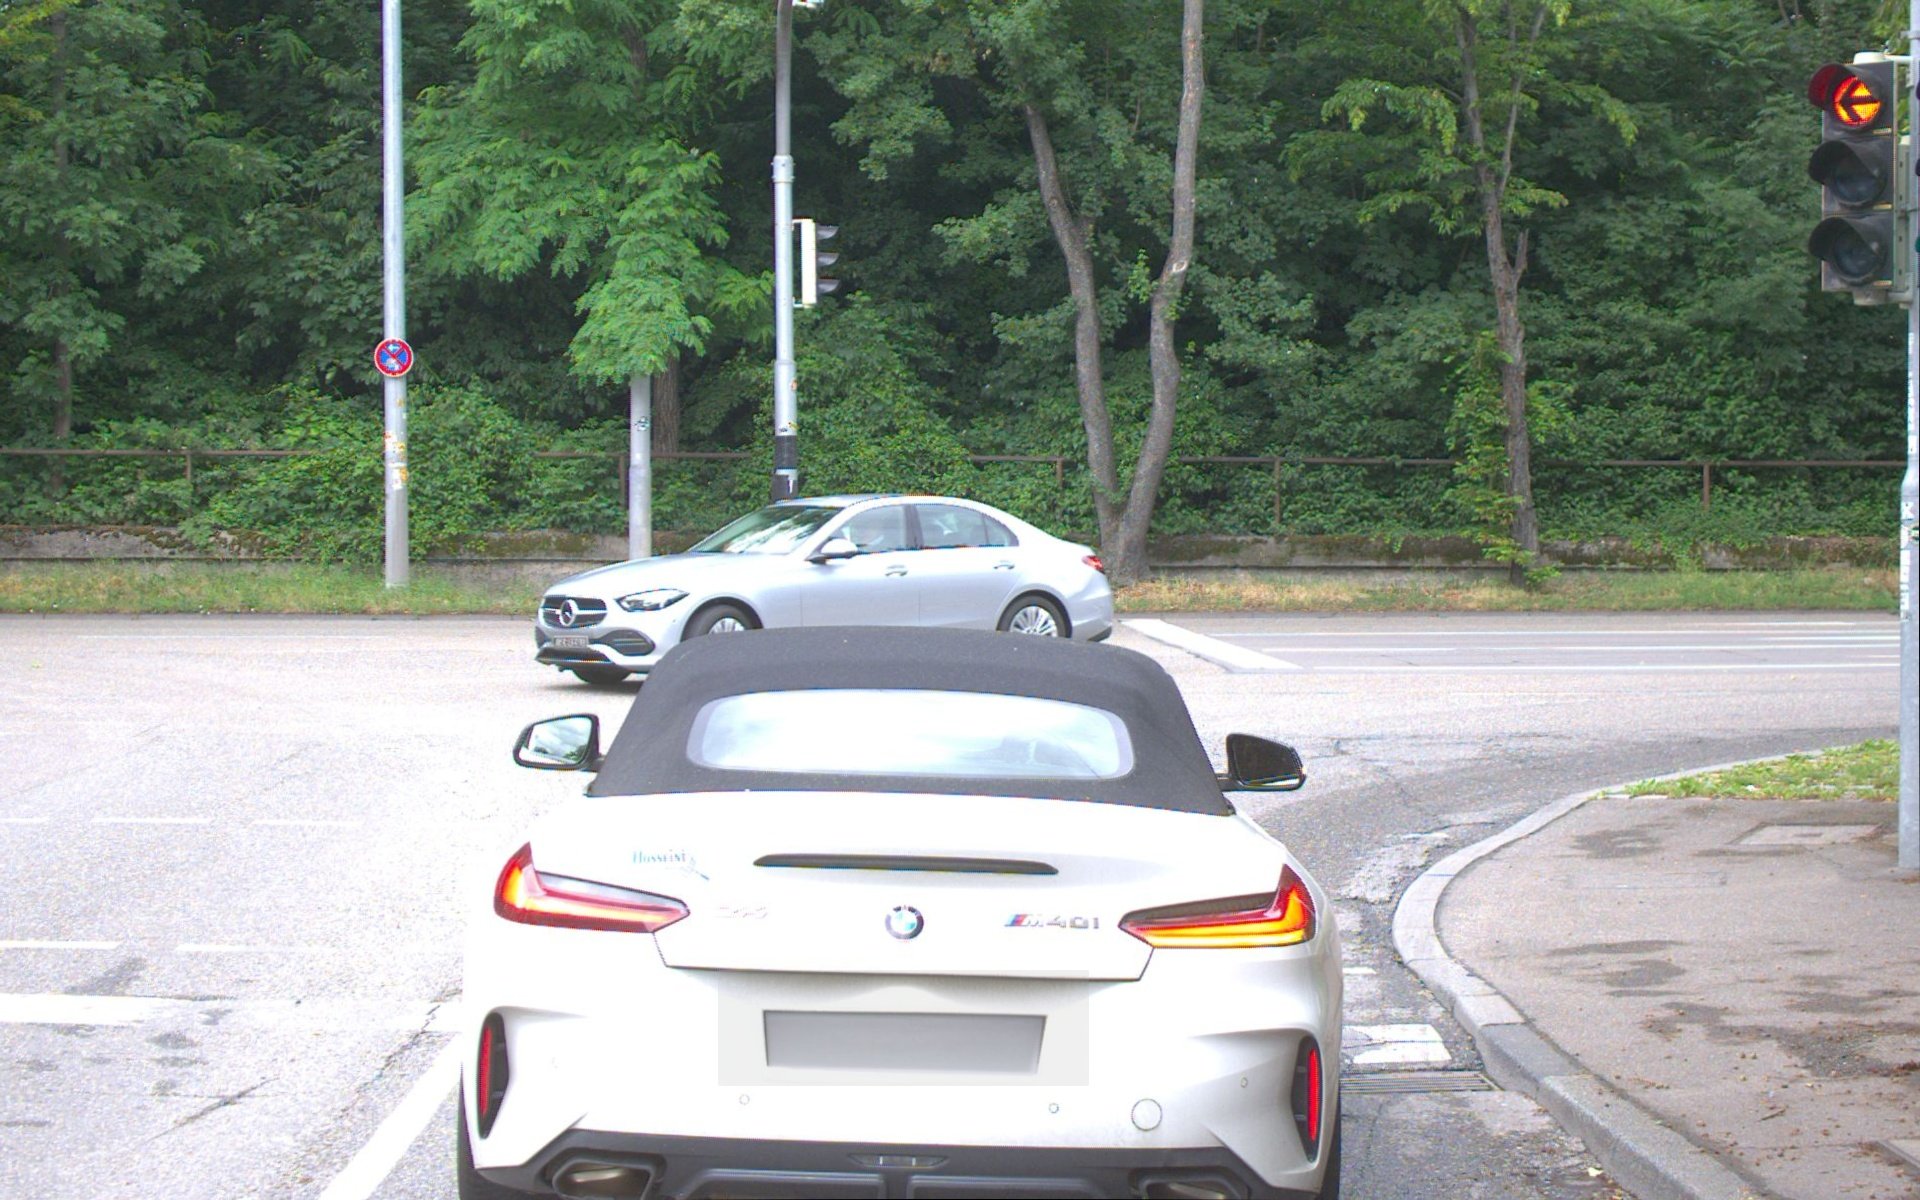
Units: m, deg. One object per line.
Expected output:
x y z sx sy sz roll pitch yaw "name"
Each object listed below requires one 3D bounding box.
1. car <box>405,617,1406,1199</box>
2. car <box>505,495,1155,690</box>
-0.110 0.713 8.368 1.827 1.253 4.000 1 -1 0 "car"
-0.951 -0.115 26.477 4.752 1.329 1.833 -1 3 -34 "car"
